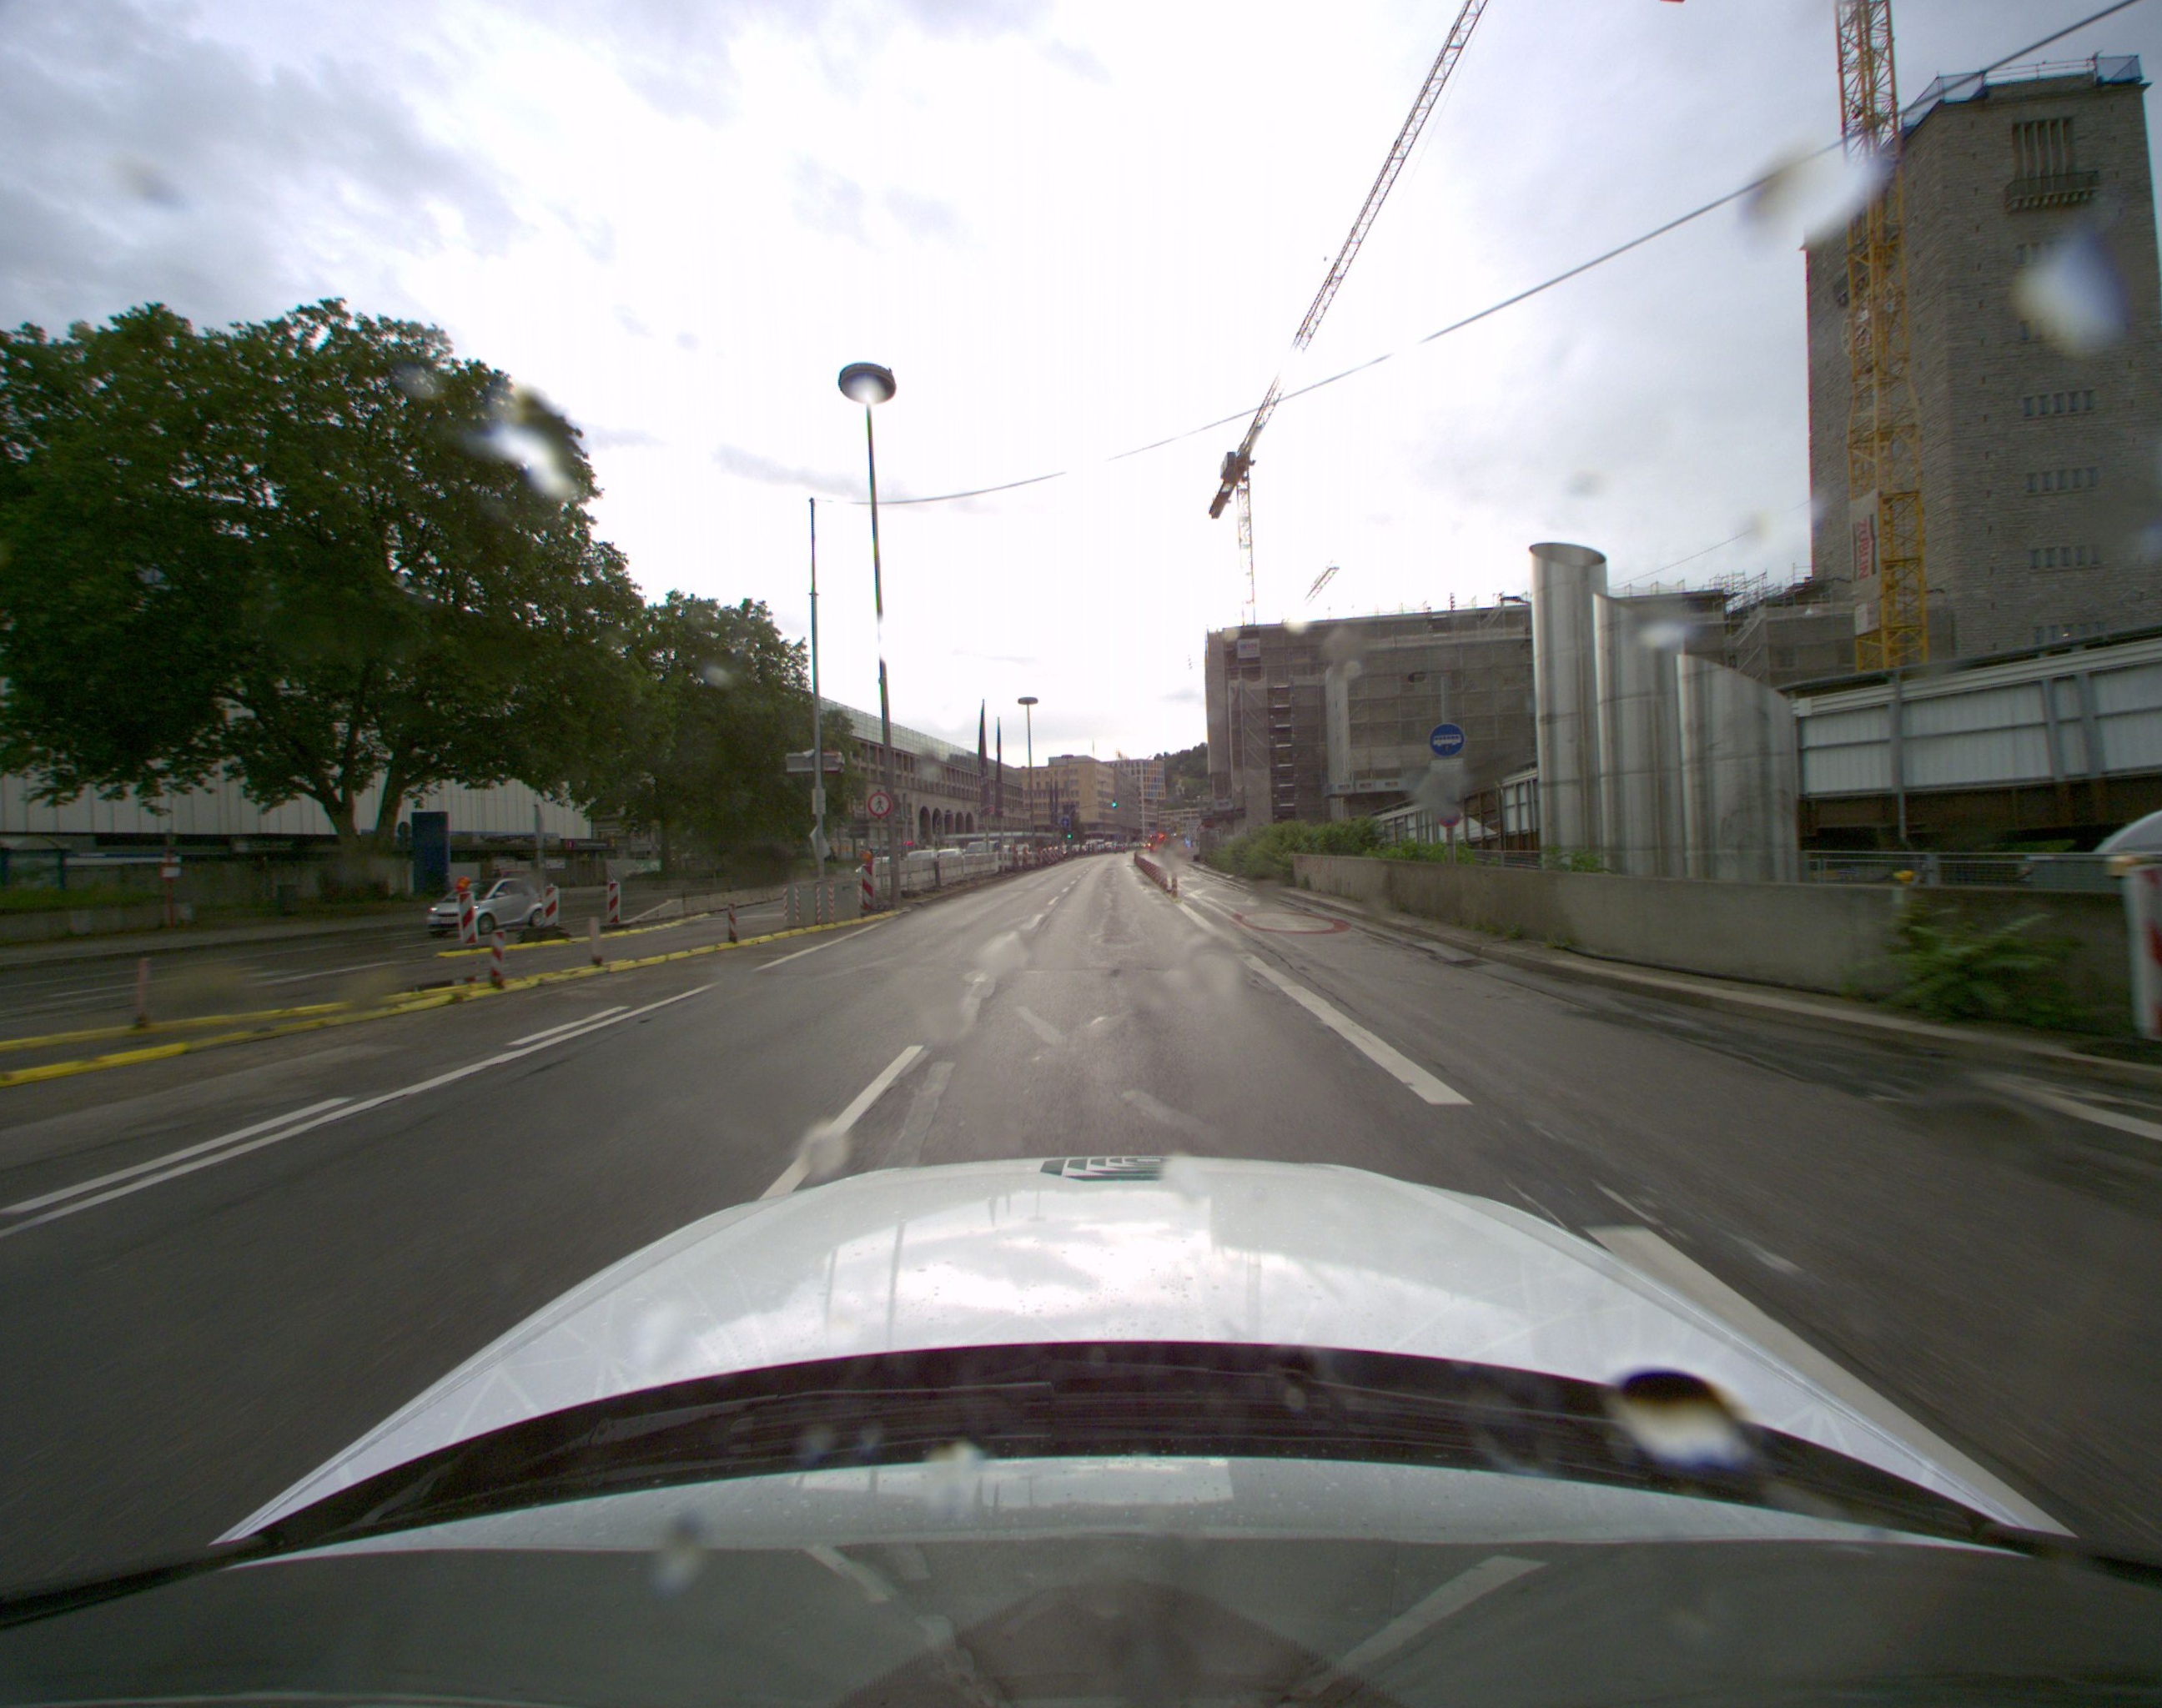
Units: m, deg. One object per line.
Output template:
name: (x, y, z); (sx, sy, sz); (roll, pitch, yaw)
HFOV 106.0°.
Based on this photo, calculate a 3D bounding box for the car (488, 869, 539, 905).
car: (-28.989, 1.687, 41.530); (1.917, 1.528, 3.958); (-2, -4, -38)

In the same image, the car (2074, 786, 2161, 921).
car: (19.030, -0.056, 12.449); (2.366, 2.132, 4.821); (-1, 0, -39)

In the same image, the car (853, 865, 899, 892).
car: (-13.524, 1.641, 53.970); (1.895, 1.528, 4.176); (-4, -3, 1)

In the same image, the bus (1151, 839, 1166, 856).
bus: (13.207, -1.105, 138.619); (1.982, 2.432, 4.009); (-4, -3, 8)

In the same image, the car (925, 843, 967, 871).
car: (-8.808, 0.227, 53.489); (1.895, 1.528, 4.176); (-4, -3, 1)

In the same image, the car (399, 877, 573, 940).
car: (-17.086, 1.552, 23.693); (1.895, 1.528, 4.176); (-4, -3, 1)

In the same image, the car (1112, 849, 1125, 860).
car: (6.167, 0.135, 134.613); (1.895, 1.528, 4.176); (-4, -3, 1)

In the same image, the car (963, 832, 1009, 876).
car: (-5.211, 0.049, 45.205); (1.895, 2.083, 4.176); (-4, -3, 1)
